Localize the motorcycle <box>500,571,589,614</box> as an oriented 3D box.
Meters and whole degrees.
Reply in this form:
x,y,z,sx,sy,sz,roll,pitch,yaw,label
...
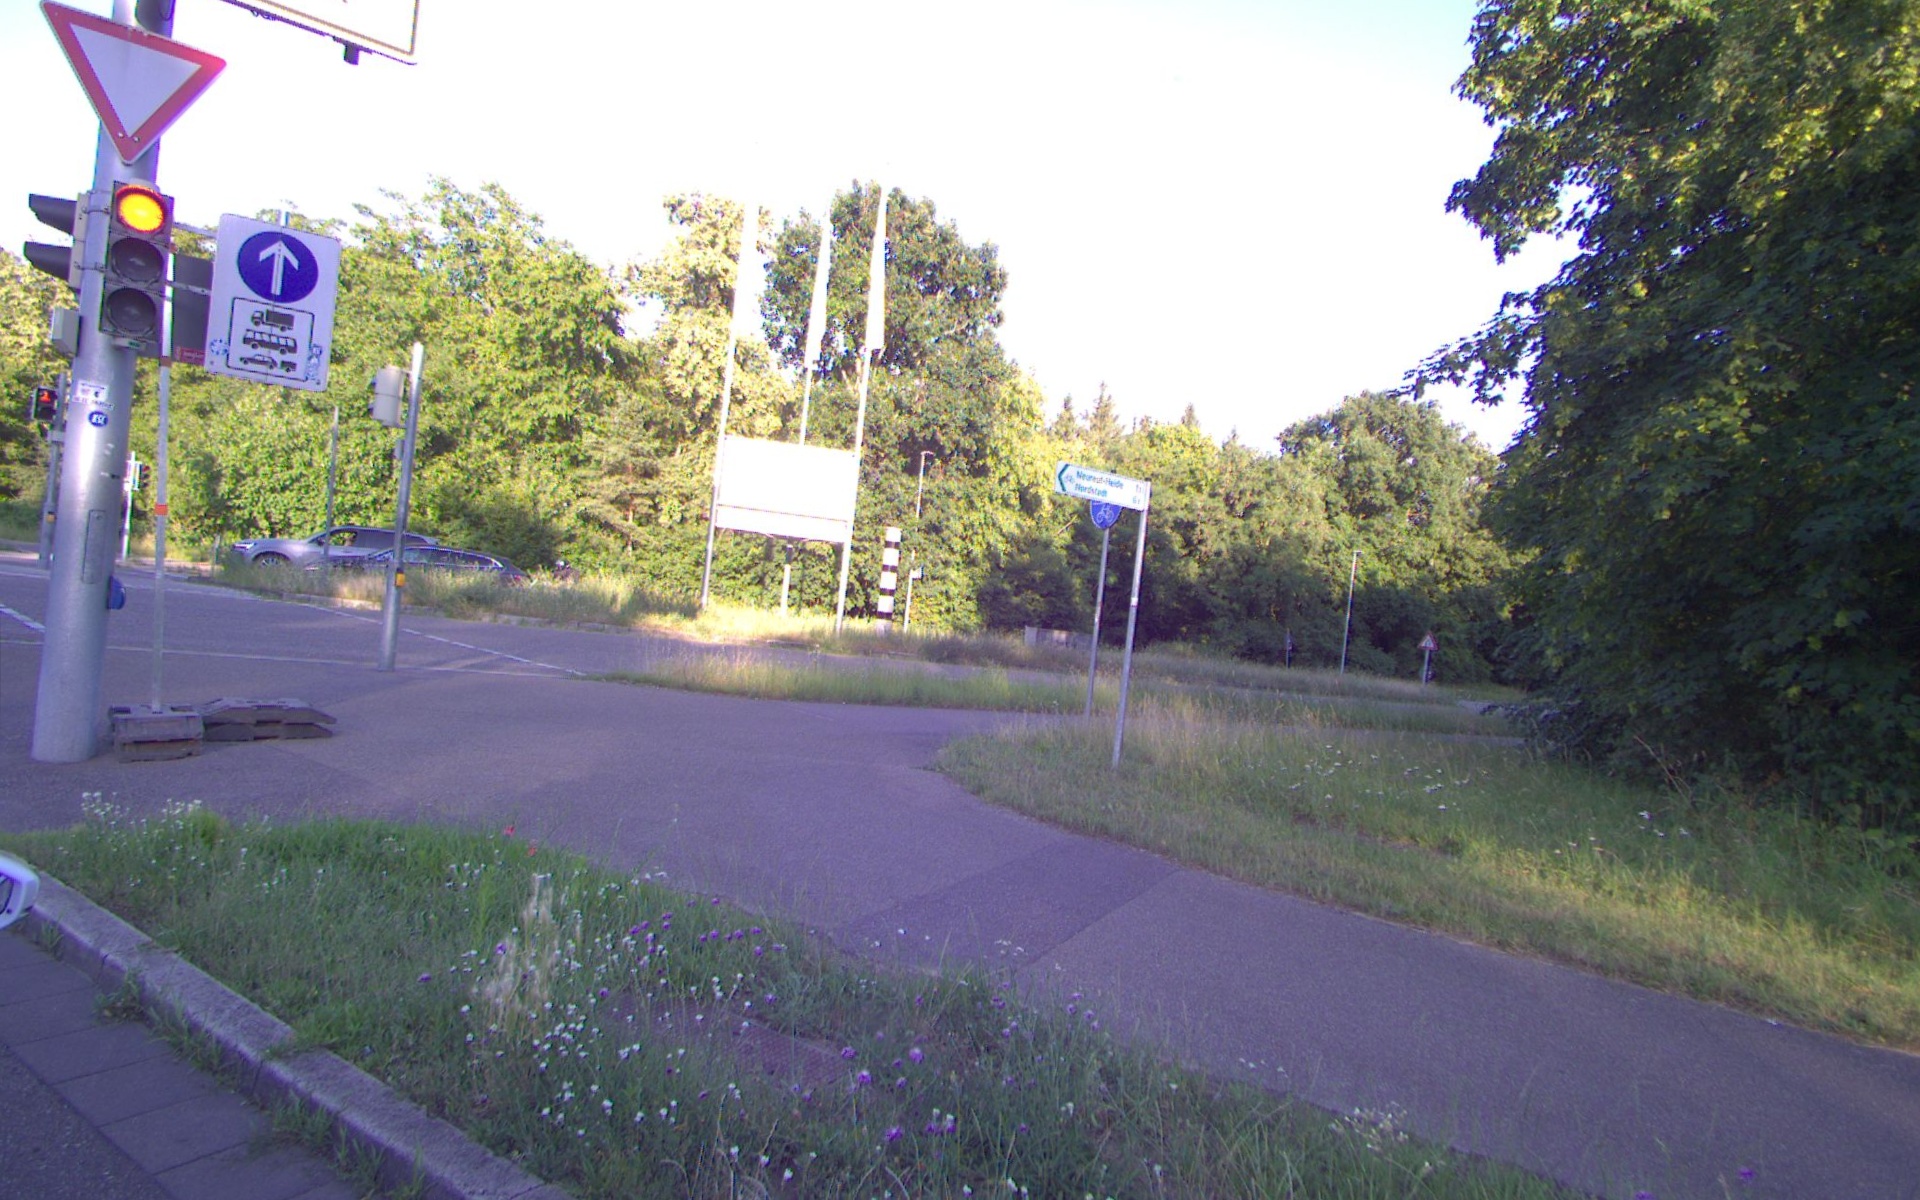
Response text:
x,y,z,sx,sy,sz,roll,pitch,yaw,label
-11.474,-0.203,27.823,2.133,0.921,0.655,7,0,-37,motorcycle

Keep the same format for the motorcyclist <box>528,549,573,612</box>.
x,y,z,sx,sy,sz,roll,pitch,yaw,label
-11.348,-0.537,27.876,0.881,1.614,0.648,6,0,-37,motorcyclist

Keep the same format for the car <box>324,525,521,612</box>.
x,y,z,sx,sy,sz,roll,pitch,yaw,label
-12.729,-0.729,23.911,3.840,1.507,1.754,7,-1,-36,car

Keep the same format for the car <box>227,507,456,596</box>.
x,y,z,sx,sy,sz,roll,pitch,yaw,label
-15.915,-1.206,25.997,4.790,1.618,1.980,7,0,-37,car
